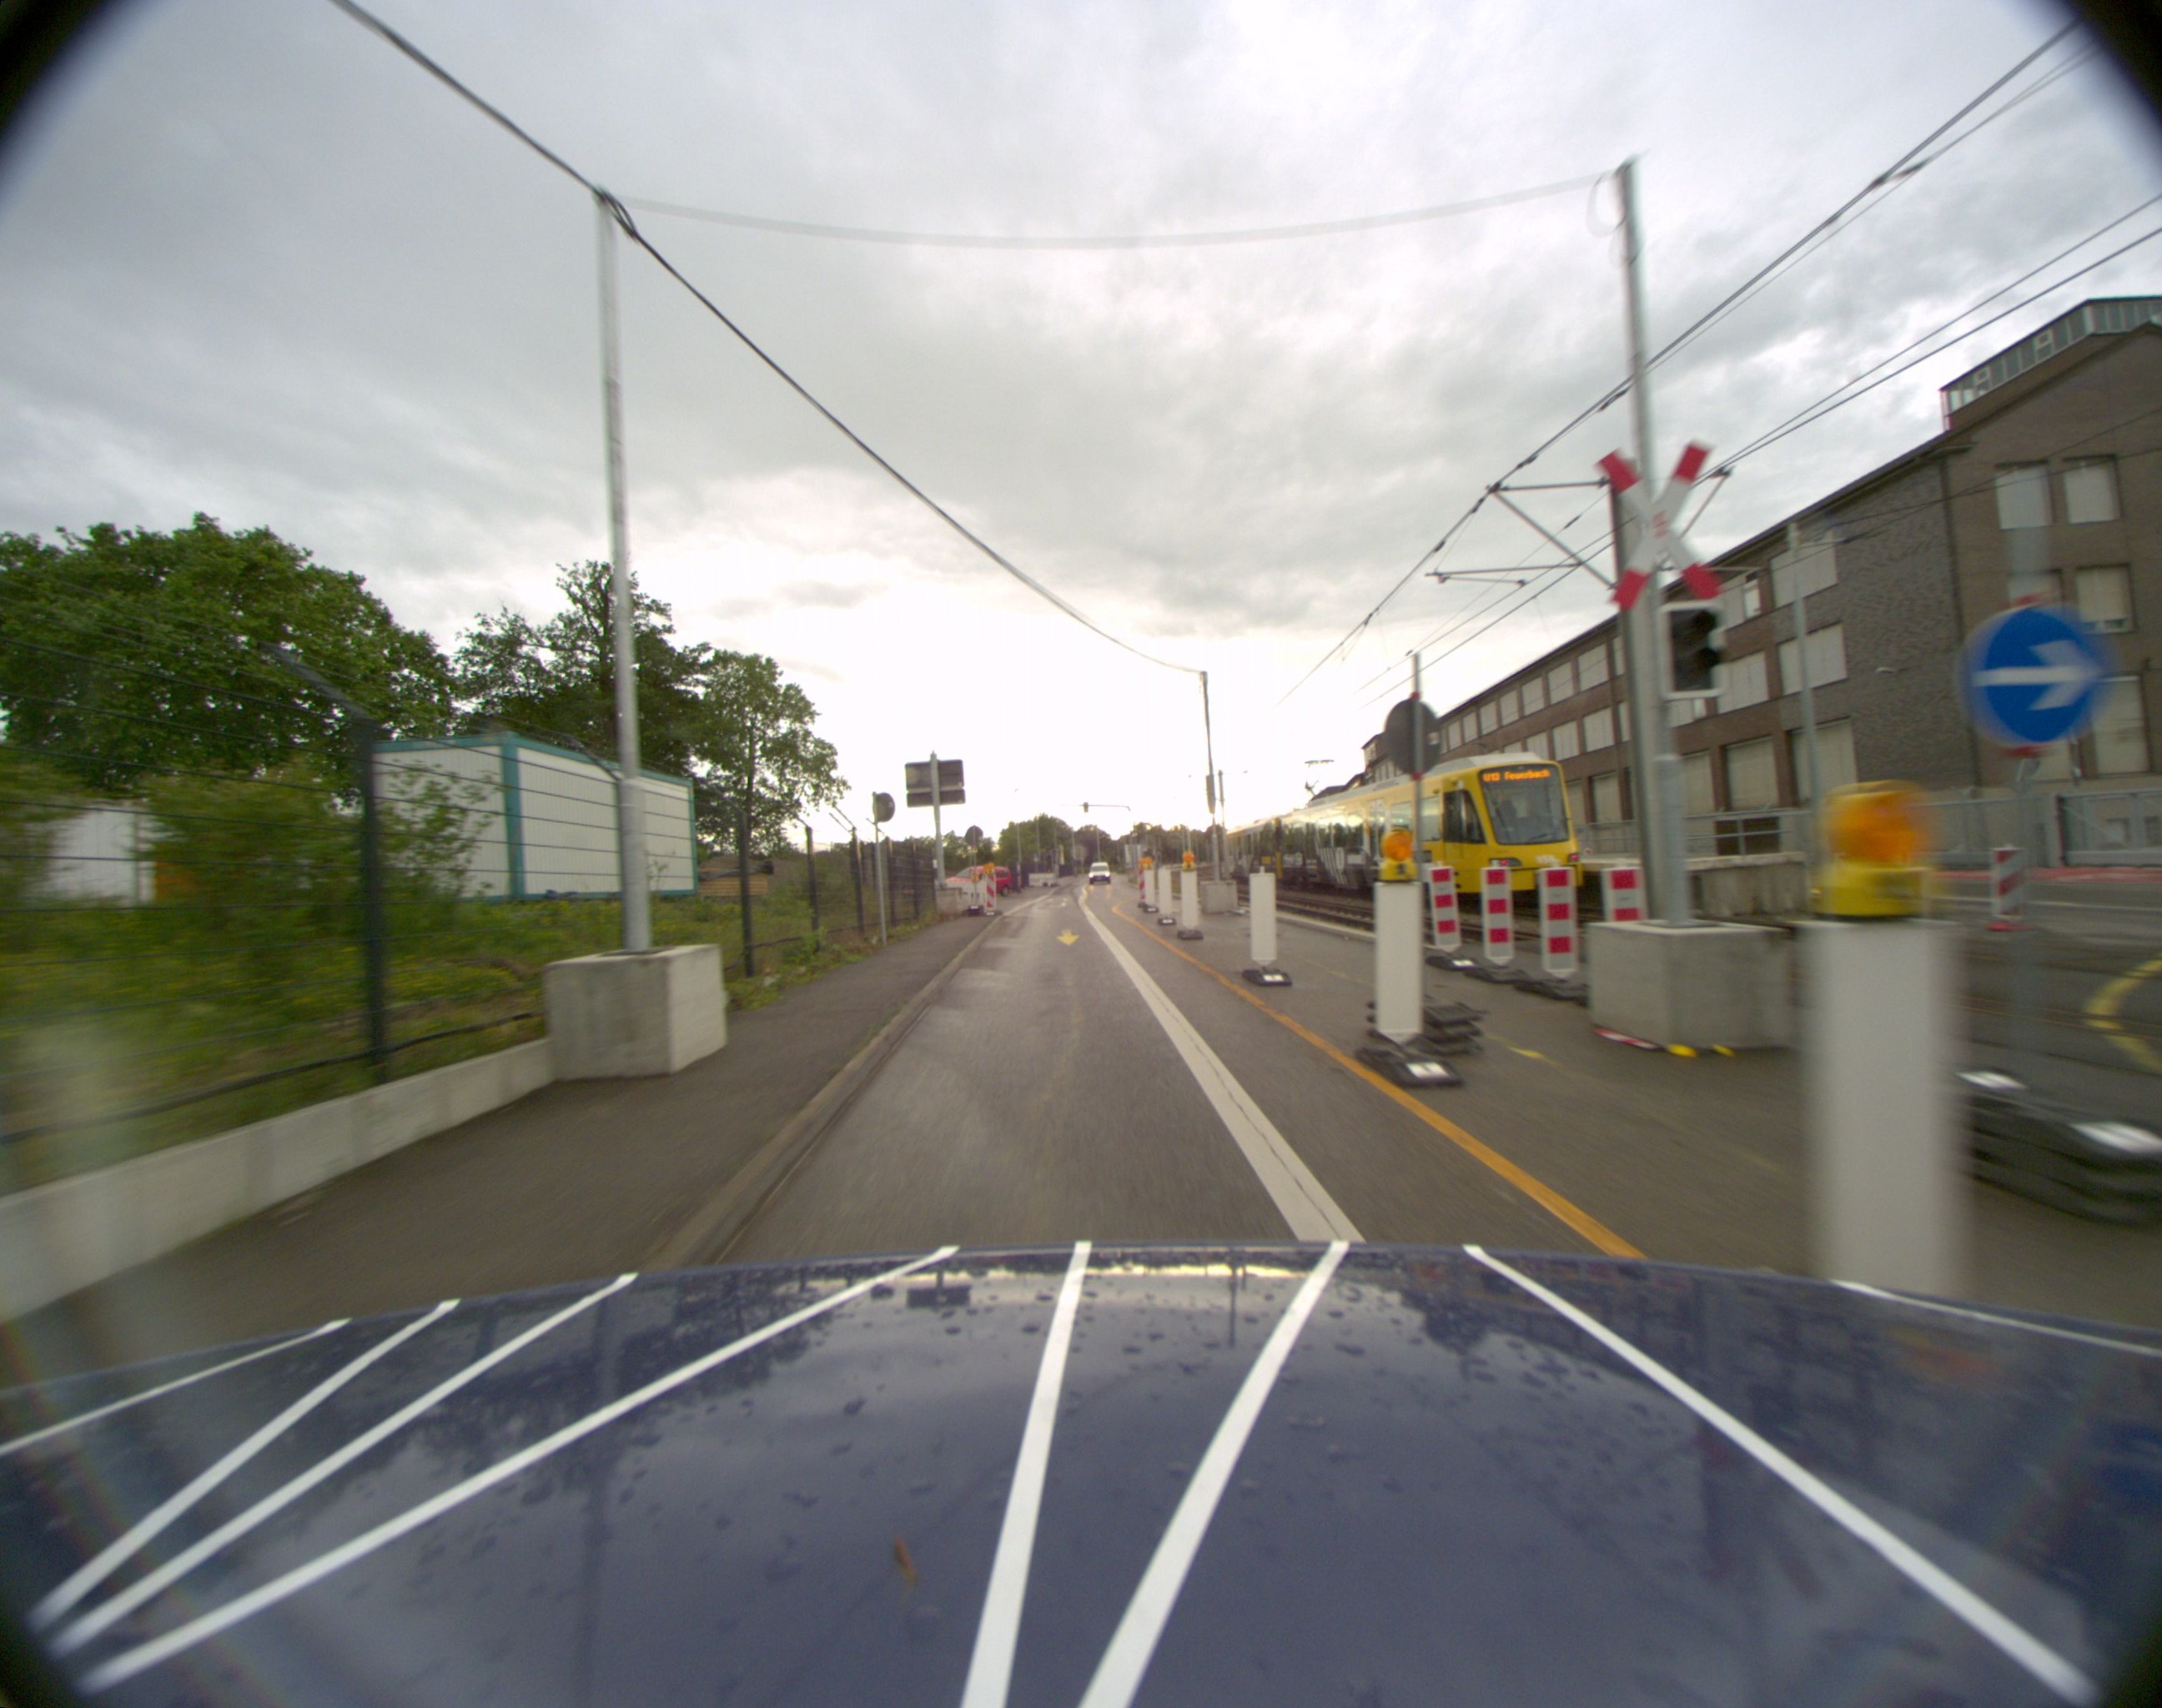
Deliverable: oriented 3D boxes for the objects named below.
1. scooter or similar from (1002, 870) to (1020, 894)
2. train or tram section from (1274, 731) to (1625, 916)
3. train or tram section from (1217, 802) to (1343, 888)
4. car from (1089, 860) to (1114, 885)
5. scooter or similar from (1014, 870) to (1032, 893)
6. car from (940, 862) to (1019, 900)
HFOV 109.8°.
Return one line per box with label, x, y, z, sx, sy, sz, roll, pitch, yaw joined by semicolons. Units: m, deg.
scooter or similar;-4.258;1.704;46.315;0.616;1.343;1.913;-3;-1;7
train or tram section;10.574;-0.567;26.416;2.962;3.862;19.294;-4;-1;1
train or tram section;11.179;-0.325;45.827;2.962;3.862;19.577;-4;-1;2
car;1.779;1.625;66.829;1.998;2.002;4.000;-2;0;0
scooter or similar;-3.519;1.658;46.301;0.616;1.343;1.913;-3;-1;7
car;-5.480;1.450;41.522;1.821;1.783;4.417;-3;-1;32
